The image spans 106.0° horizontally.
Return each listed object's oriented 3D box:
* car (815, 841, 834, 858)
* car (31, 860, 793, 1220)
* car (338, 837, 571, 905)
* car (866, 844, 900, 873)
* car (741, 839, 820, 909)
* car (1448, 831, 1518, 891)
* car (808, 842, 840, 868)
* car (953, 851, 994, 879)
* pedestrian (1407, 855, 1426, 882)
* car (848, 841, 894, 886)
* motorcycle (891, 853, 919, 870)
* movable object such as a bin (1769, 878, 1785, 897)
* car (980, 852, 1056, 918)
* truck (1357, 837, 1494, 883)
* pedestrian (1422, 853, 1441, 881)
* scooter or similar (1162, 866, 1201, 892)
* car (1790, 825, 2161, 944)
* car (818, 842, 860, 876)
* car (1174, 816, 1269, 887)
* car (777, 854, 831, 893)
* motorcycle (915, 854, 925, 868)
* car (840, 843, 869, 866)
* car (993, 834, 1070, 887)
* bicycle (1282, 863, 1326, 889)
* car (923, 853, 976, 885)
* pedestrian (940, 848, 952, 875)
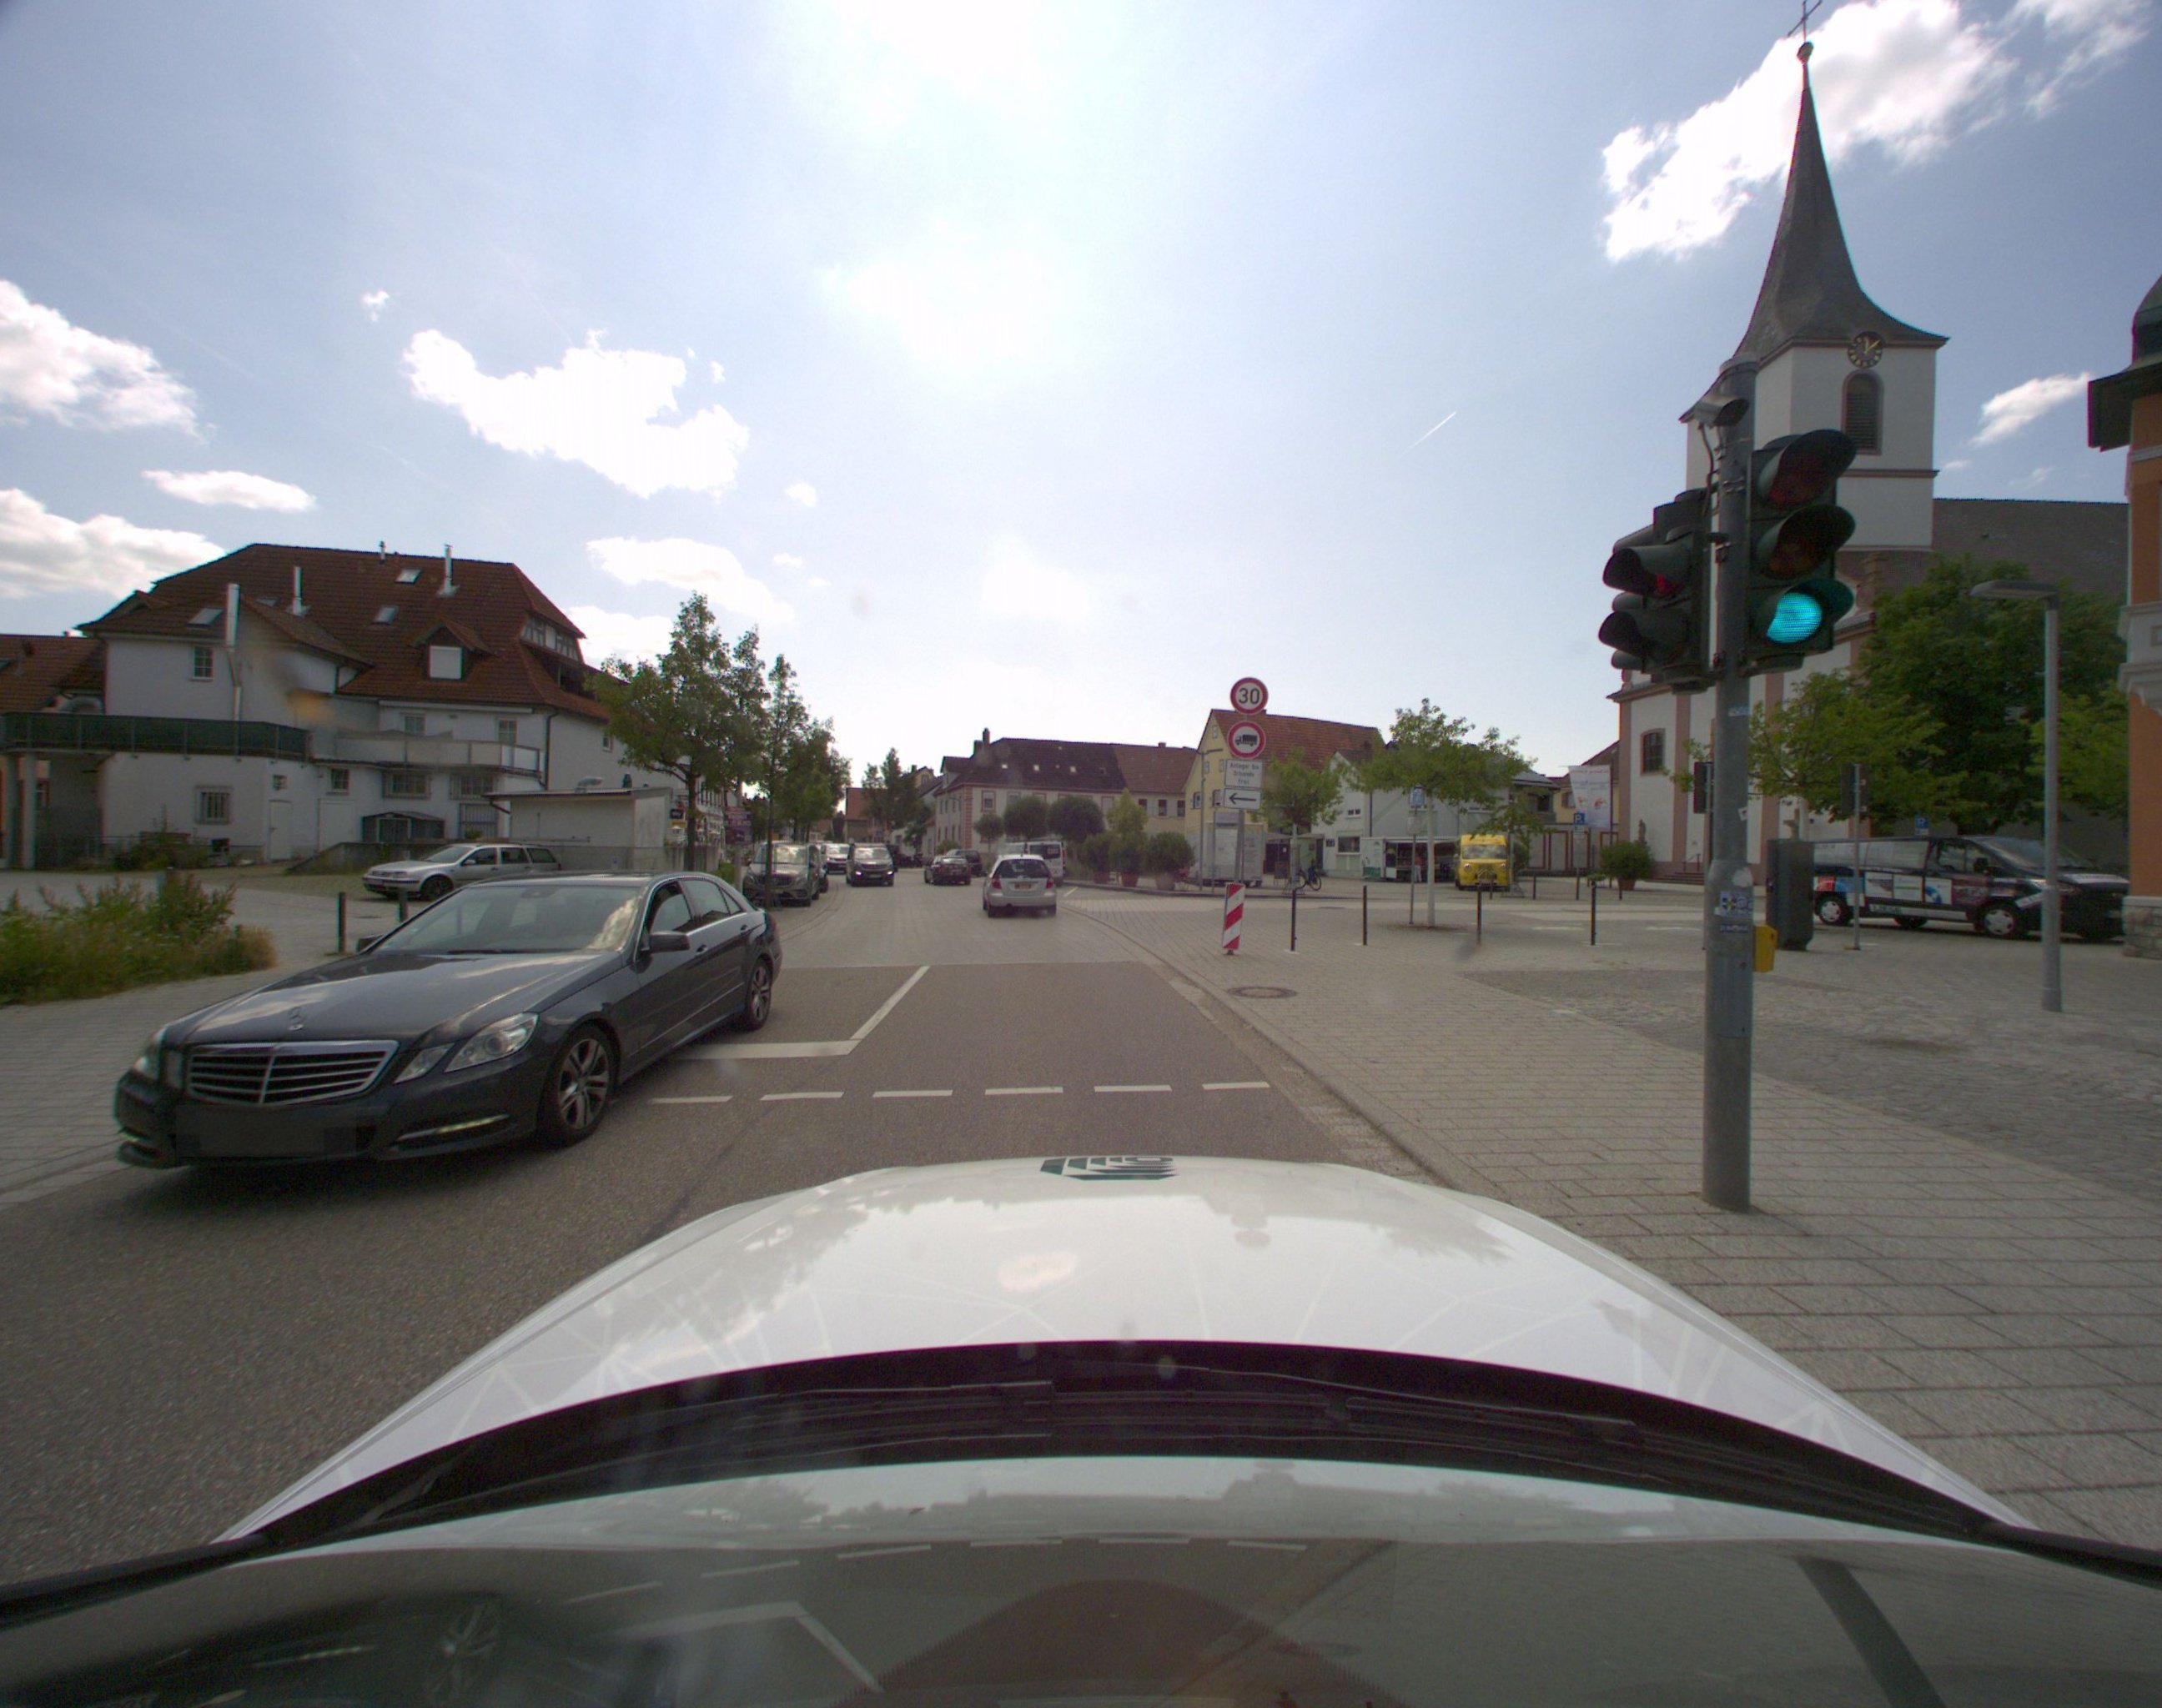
[{"bbox_3d":[-28.750,-0.463,91.258,1.645,1.849,3.578,0,-1,-24],"label":"car"},{"bbox_3d":[-3.672,0.802,5.823,1.881,1.435,4.588,-1,0,-5],"label":"car"},{"bbox_3d":[-16.277,0.390,21.494,1.977,1.496,4.458,3,1,19],"label":"car"},{"bbox_3d":[-14.019,0.356,57.497,1.775,1.888,4.416,3,-2,-20],"label":"car"},{"bbox_3d":[-9.394,0.559,25.823,1.991,1.990,5.016,1,0,-16],"label":"car"},{"bbox_3d":[18.311,0.297,37.389,2.621,2.477,7.004,0,0,25],"label":"car"},{"bbox_3d":[-20.771,0.023,65.629,2.002,2.013,4.703,0,0,-23],"label":"car"},{"bbox_3d":[-6.295,0.621,47.394,1.772,1.564,4.395,0,0,-15],"label":"car"},{"bbox_3d":[18.367,0.802,44.627,0.643,1.442,0.758,0,-1,-12],"label":"pedestrian"},{"bbox_3d":[-9.919,0.412,38.711,1.996,2.013,4.718,0,0,-13],"label":"car"},{"bbox_3d":[-14.850,0.602,68.678,2.199,1.395,0.877,-1,-1,21],"label":"motorcycle"},{"bbox_3d":[26.151,1.261,30.608,0.293,0.699,0.364,1,0,-12],"label":"movable object such as a bin"},{"bbox_3d":[-1.795,0.760,22.096,1.768,1.594,3.988,1,0,-9],"label":"car"},{"bbox_3d":[19.739,0.330,46.868,6.803,2.497,2.947,1,0,-11],"label":"truck"},{"bbox_3d":[19.353,0.727,44.980,0.559,1.540,0.812,1,0,-10],"label":"pedestrian"},{"bbox_3d":[3.534,0.879,28.694,1.142,0.881,0.812,0,0,-12],"label":"scooter or similar"},{"bbox_3d":[17.859,0.520,16.648,1.987,2.013,5.494,1,0,0],"label":"car"},{"bbox_3d":[-15.544,0.288,52.131,2.002,2.013,4.703,0,0,-23],"label":"car"},{"bbox_3d":[6.432,-0.090,38.426,2.747,2.963,7.103,2,-1,-4],"label":"car"},{"bbox_3d":[-11.001,0.724,32.618,1.820,1.423,4.512,1,0,-16],"label":"car"},{"bbox_3d":[-14.029,0.611,70.899,0.527,1.123,1.058,1,0,-28],"label":"motorcycle"},{"bbox_3d":[-19.024,0.068,68.370,2.001,1.849,3.972,0,0,-21],"label":"car"},{"bbox_3d":[-2.315,0.241,36.322,1.950,2.177,5.065,-1,1,-21],"label":"car"},{"bbox_3d":[9.707,0.952,35.492,0.757,1.068,2.096,1,0,-21],"label":"bicycle"},{"bbox_3d":[-6.317,0.706,38.843,1.950,1.407,3.977,1,0,-17],"label":"car"},{"bbox_3d":[-8.466,0.468,51.217,0.641,1.629,0.616,0,0,-19],"label":"pedestrian"}]
